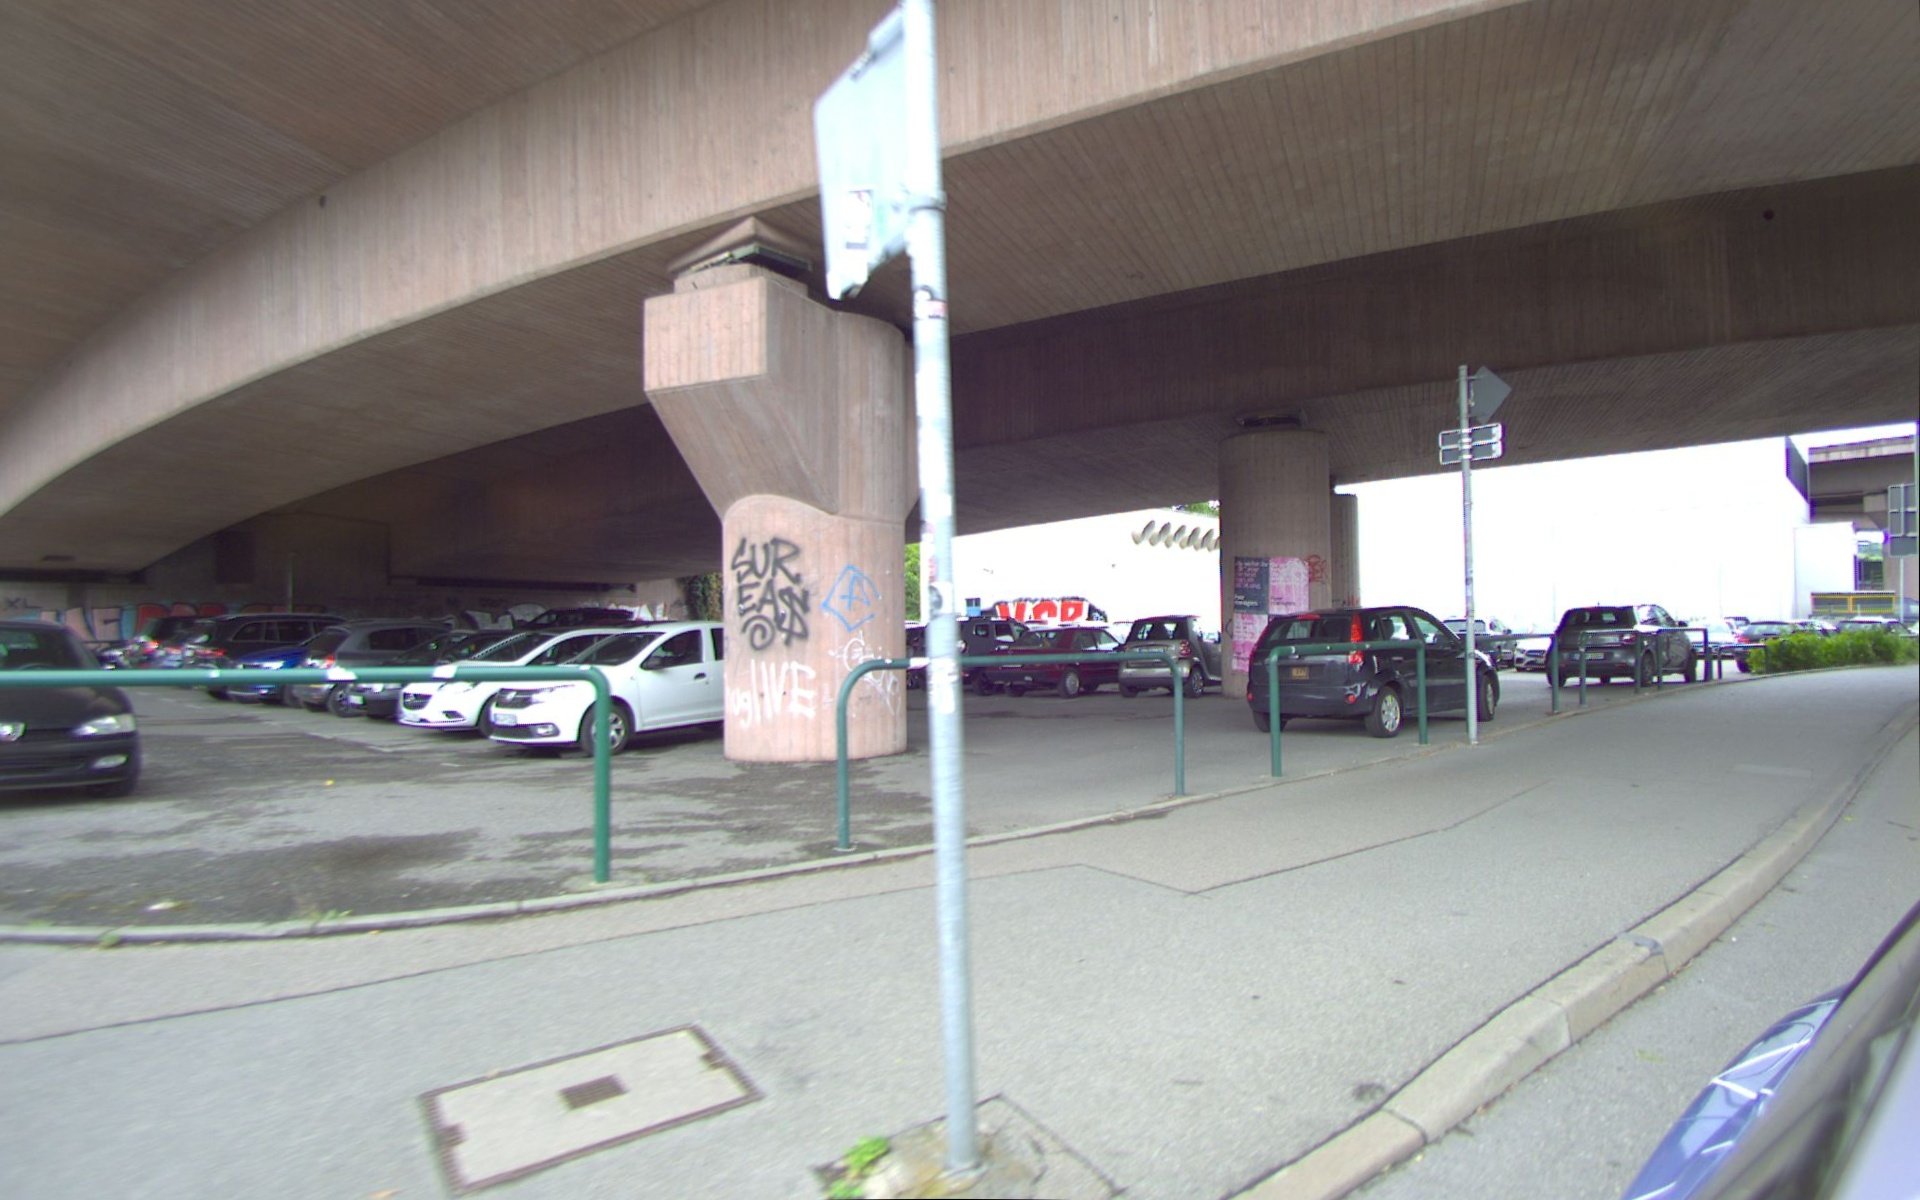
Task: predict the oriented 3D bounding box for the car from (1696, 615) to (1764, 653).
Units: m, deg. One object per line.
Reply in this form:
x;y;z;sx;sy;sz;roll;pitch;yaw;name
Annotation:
33.041;1.407;43.398;1.833;1.533;4.429;-1;-2;43;car

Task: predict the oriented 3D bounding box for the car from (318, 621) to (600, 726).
-8.031;1.090;16.533;1.687;1.462;3.814;-1;-1;34;car

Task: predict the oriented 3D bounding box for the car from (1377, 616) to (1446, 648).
21.436;1.486;47.979;1.777;1.410;4.369;-1;-2;41;car

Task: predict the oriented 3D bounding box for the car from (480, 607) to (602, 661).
-14.969;1.172;36.264;1.875;1.811;3.608;-1;-1;41;car

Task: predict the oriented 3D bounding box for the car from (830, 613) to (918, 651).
-4.103;1.504;48.669;1.830;1.710;4.130;-1;-1;41;car

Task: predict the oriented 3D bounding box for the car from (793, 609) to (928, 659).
-3.079;1.026;31.982;1.830;1.484;4.130;-1;-1;41;car

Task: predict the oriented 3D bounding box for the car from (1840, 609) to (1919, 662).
27.929;1.023;30.199;2.704;1.498;1.547;0;-1;-25;car

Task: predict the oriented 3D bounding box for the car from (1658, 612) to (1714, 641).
38.176;1.362;53.186;1.770;1.401;4.291;-1;-1;44;car

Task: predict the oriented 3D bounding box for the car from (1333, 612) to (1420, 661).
15.748;1.323;38.155;1.749;1.713;4.366;-1;-1;41;car

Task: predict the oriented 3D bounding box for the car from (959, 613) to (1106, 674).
2.007;1.094;27.013;1.830;1.484;4.130;-1;-1;41;car

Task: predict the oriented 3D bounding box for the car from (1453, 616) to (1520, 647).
26.176;1.535;50.270;1.833;1.444;4.371;-1;-2;43;car

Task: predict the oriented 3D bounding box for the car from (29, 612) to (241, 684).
-20.598;1.136;25.406;1.746;1.659;3.814;-1;-1;34;car

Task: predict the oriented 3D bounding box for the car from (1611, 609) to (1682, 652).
28.066;1.225;41.323;1.850;1.649;4.551;-1;-2;41;car

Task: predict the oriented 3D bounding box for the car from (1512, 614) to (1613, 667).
17.688;1.136;29.634;1.830;1.439;4.130;-1;-1;41;car

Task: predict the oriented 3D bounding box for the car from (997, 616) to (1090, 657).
3.537;1.468;42.393;1.830;1.613;4.130;-1;-1;41;car

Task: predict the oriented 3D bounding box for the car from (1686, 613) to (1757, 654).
29.807;1.265;39.574;1.850;1.494;4.616;-1;-2;41;car

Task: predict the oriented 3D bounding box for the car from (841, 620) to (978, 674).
-1.463;1.360;30.514;1.830;1.484;4.130;-1;-1;41;car

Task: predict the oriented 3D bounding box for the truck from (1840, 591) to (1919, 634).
66.955;0.867;71.544;2.999;2.970;6.914;2;-2;-43;truck

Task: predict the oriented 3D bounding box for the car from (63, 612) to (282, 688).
-18.815;1.126;24.319;1.746;1.659;3.814;-1;-1;34;car

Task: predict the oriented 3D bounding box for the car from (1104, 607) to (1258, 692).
4.401;0.941;19.902;1.523;1.519;3.325;-4;-3;41;car

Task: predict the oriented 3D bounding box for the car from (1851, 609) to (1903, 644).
44.448;1.243;49.056;1.769;1.608;4.293;-1;-1;43;car

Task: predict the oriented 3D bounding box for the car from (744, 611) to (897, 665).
-4.628;1.217;34.205;2.082;1.699;5.030;-1;-1;41;car

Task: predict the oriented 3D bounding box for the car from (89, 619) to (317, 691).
-17.064;1.181;22.977;1.746;1.457;3.814;-1;-1;34;car

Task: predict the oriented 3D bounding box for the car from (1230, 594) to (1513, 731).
5.008;0.686;12.164;3.515;1.415;1.609;0;-3;-39;car

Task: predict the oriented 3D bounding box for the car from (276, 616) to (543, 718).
-9.556;1.072;17.834;1.687;1.575;3.814;-1;-1;34;car

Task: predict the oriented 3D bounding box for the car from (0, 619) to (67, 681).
-24.673;1.270;26.509;1.721;1.518;3.988;0;-1;-44;car

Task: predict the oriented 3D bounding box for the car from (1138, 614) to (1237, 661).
8.433;1.337;37.343;1.830;1.613;4.130;-1;-1;41;car

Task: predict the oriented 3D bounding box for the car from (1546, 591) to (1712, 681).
12.614;0.662;19.030;3.348;1.553;1.609;0;-3;-39;car

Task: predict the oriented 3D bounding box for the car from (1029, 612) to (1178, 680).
3.708;1.097;25.654;1.830;1.570;4.130;-1;-1;41;car

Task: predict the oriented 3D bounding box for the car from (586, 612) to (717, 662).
-9.566;1.106;31.544;1.672;1.445;3.608;-1;-1;41;car

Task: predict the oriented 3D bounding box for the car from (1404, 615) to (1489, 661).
17.575;1.324;36.482;1.749;1.577;4.027;-1;-1;41;car

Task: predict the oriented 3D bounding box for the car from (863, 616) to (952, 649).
-2.406;1.473;47.057;1.830;1.427;4.130;-1;-1;41;car

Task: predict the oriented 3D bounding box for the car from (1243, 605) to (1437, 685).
8.267;0.947;22.026;3.780;1.526;1.793;-1;-2;-26;car

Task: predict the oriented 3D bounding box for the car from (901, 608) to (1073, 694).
0.659;1.047;22.394;1.830;1.720;3.805;-1;-1;41;car

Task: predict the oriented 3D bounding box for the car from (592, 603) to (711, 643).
-11.903;0.876;39.246;1.830;1.484;4.130;-1;-1;41;car

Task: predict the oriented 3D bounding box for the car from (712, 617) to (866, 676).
-4.542;1.196;27.231;1.830;1.445;3.805;-1;-1;41;car

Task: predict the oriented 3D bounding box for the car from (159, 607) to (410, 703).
-13.381;1.018;20.255;1.746;1.716;3.814;-1;-1;34;car

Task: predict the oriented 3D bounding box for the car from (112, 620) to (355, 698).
-15.200;1.167;21.354;1.746;1.453;3.814;-1;-1;34;car

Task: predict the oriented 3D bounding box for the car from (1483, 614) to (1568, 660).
19.639;1.242;35.059;1.749;1.467;4.393;-1;-1;41;car

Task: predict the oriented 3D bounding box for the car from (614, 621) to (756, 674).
-8.117;1.371;30.109;1.671;1.445;3.805;-1;-1;41;car

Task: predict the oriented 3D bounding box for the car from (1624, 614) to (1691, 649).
31.539;1.392;45.715;1.833;1.533;4.429;-1;-2;43;car

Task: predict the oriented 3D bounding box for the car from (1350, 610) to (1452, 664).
14.098;1.123;32.246;1.830;1.613;4.130;-1;-1;41;car

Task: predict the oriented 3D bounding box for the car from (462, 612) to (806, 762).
-3.955;0.953;12.838;1.630;1.572;3.957;-1;-1;37;car

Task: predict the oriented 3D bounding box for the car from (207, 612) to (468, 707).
-11.575;1.028;19.045;1.746;1.575;3.814;-1;-1;34;car

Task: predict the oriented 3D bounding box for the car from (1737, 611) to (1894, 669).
23.858;1.074;28.221;4.162;1.498;1.738;0;-1;-25;car

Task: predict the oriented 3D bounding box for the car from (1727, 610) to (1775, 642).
40.473;1.318;51.761;1.618;1.564;3.048;-1;-1;44;car

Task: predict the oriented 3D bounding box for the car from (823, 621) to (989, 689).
-1.220;1.232;24.030;1.830;1.445;3.805;-1;-1;41;car

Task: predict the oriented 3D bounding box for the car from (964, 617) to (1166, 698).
2.254;1.123;20.922;4.308;1.489;1.832;1;-3;-45;car

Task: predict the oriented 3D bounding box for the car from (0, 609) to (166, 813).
-7.631;0.778;7.982;3.683;1.347;1.487;-2;-3;41;car

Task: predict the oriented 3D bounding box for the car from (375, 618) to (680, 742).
-6.143;1.042;14.757;1.687;1.529;3.814;-1;-1;34;car

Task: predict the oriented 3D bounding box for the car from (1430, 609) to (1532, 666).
15.839;1.091;30.664;1.830;1.613;4.130;-1;-1;41;car

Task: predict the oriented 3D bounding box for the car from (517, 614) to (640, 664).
-13.074;1.288;34.809;1.671;1.619;3.608;-1;-1;41;car
